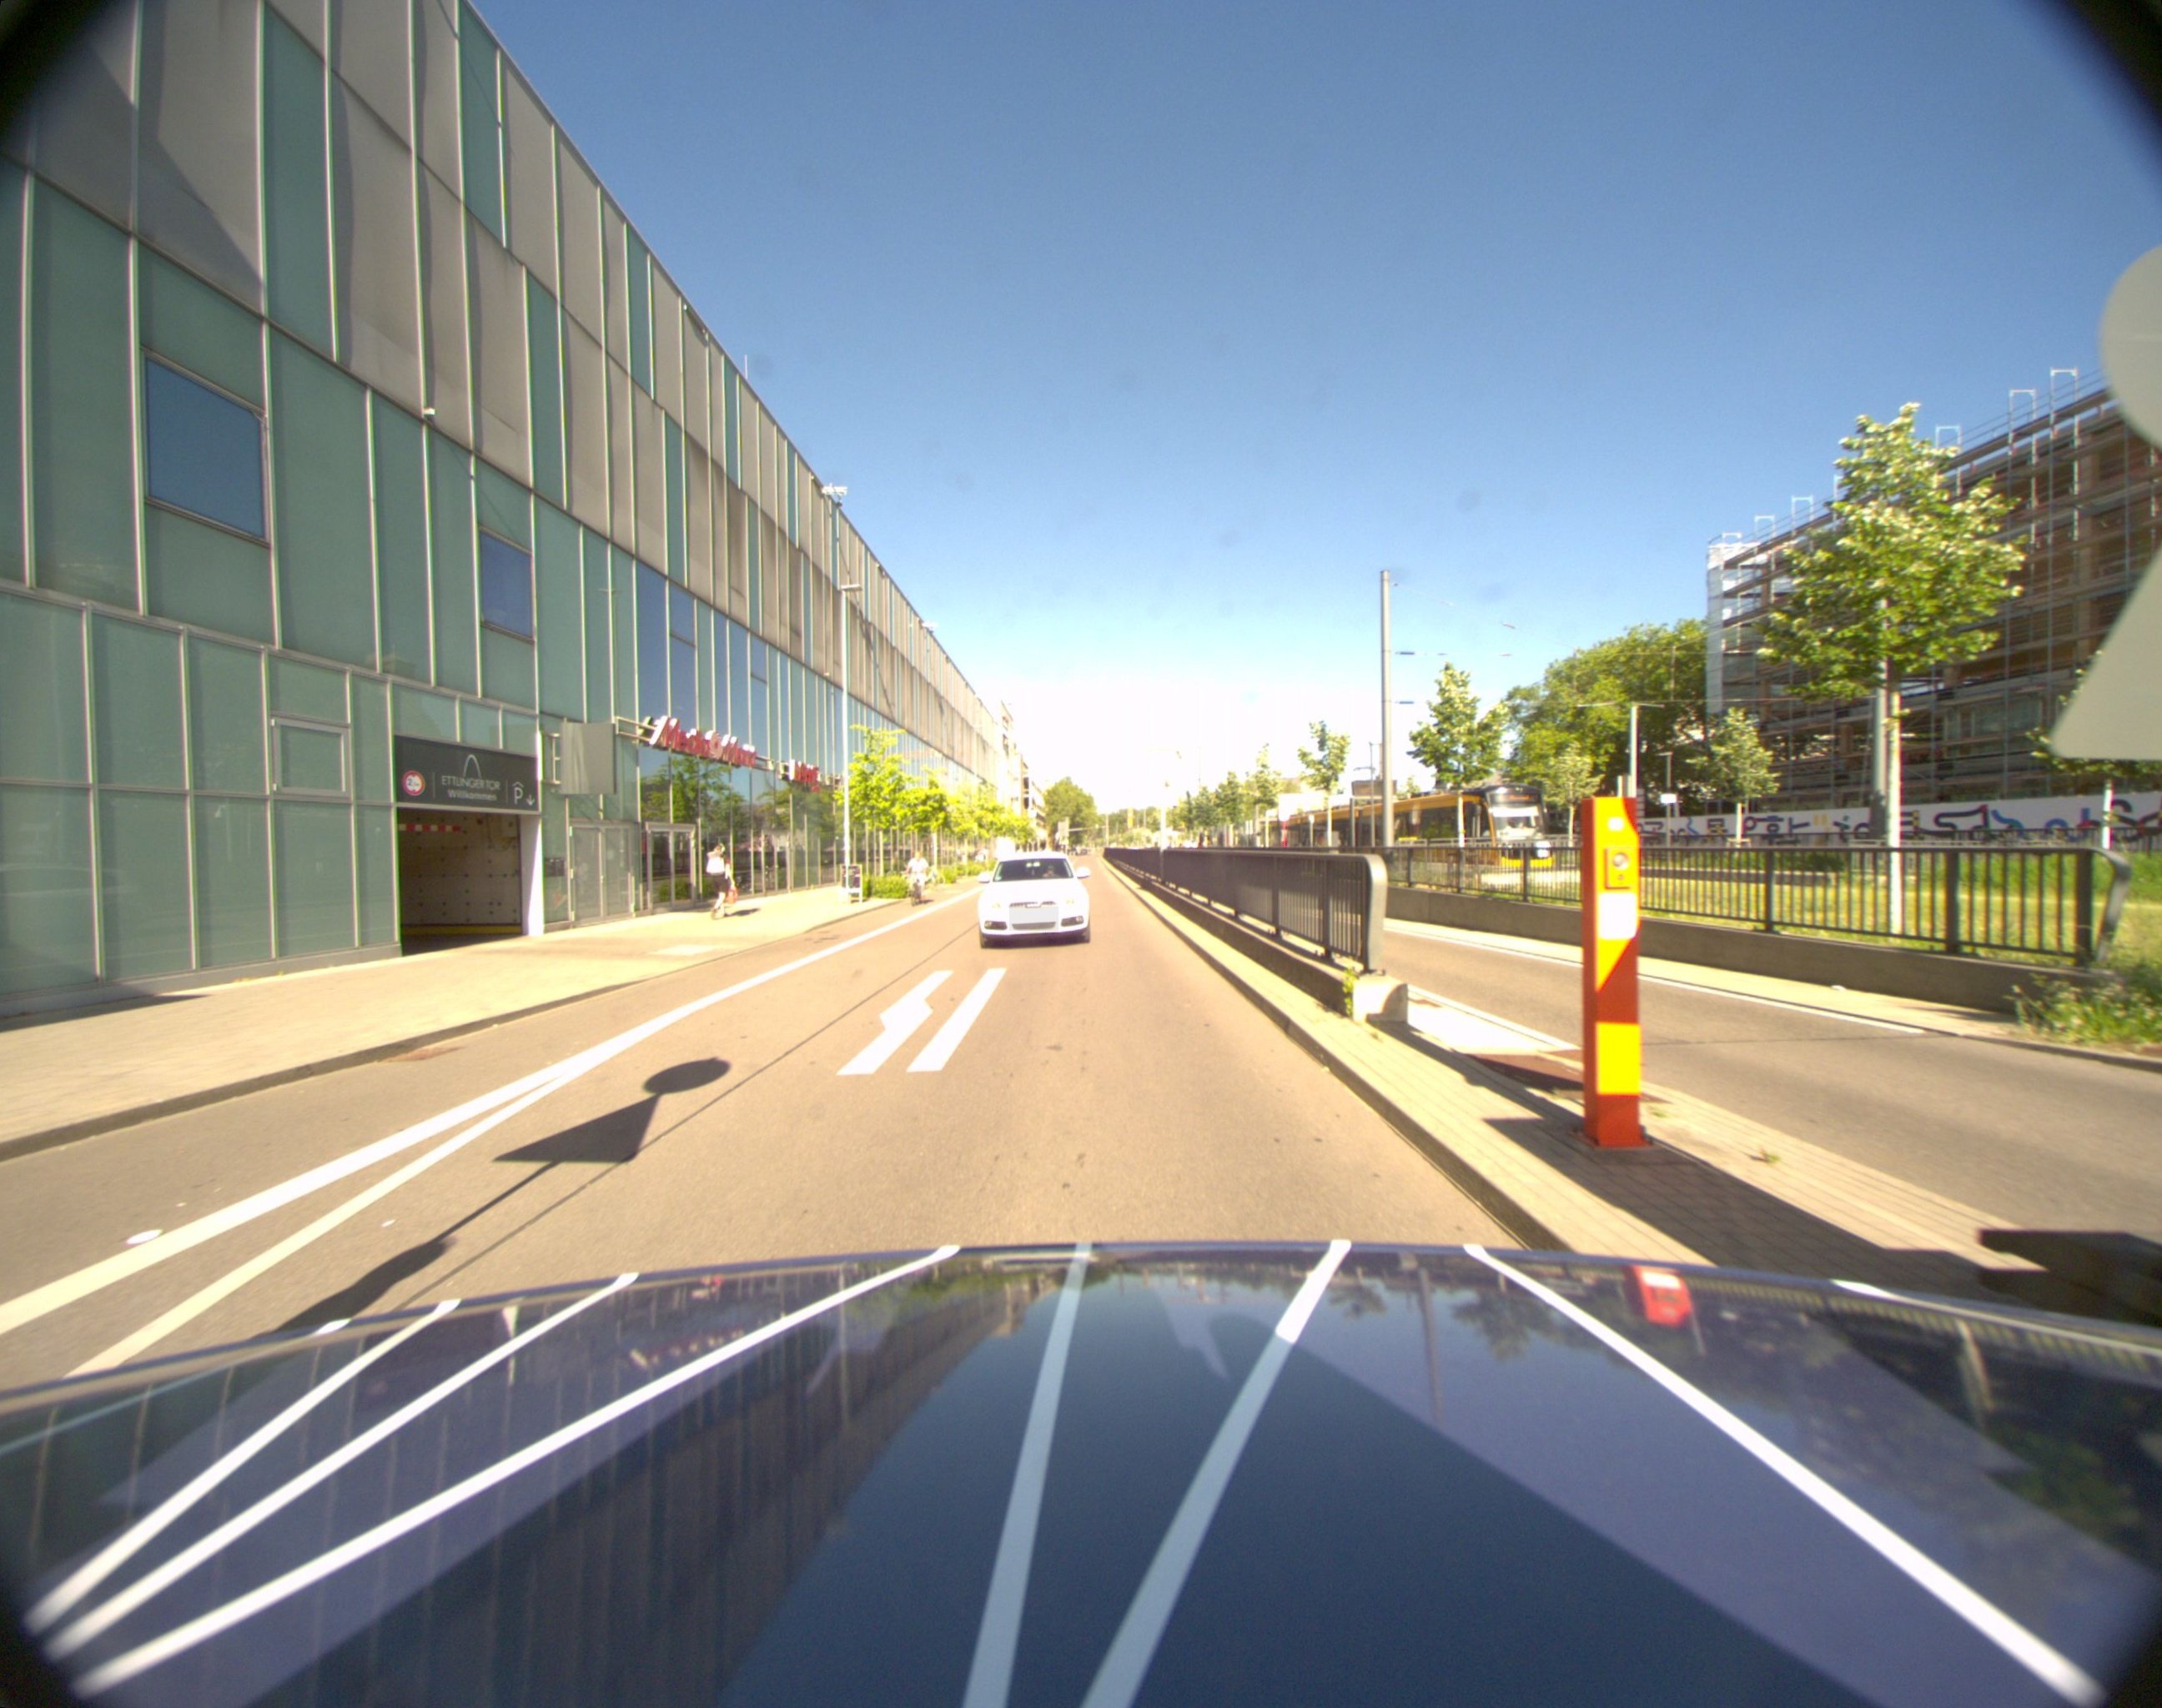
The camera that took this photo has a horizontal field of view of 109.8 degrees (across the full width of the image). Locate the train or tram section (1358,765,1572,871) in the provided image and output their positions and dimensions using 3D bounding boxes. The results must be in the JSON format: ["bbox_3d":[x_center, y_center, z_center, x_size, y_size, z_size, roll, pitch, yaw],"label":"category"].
[{"bbox_3d":[15.606,-1.364,32.645,2.822,3.618,12.786,-1,1,1],"label":"train or tram section"}]

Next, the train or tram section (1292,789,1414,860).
[{"bbox_3d":[15.734,-1.647,45.442,2.822,3.618,12.786,-1,1,1],"label":"train or tram section"}]

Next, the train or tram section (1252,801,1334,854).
[{"bbox_3d":[15.889,-1.935,58.229,2.822,3.618,12.786,-1,1,1],"label":"train or tram section"}]

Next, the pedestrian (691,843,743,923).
[{"bbox_3d":[-9.154,0.714,19.141,0.877,1.914,0.895,2,3,0],"label":"pedestrian"}]

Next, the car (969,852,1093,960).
[{"bbox_3d":[-0.871,0.838,14.325,1.934,1.624,3.998,-2,1,-2],"label":"car"}]

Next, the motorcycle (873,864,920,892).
[{"bbox_3d":[-7.711,0.992,31.742,1.876,1.076,0.645,1,2,24],"label":"motorcycle"}]

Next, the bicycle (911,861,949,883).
[{"bbox_3d":[-7.217,0.861,36.258,1.741,1.056,0.467,1,1,-15],"label":"bicycle"}]

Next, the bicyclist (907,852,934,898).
[{"bbox_3d":[-5.345,0.691,25.263,0.755,1.454,0.587,-2,2,-4],"label":"bicyclist"}]

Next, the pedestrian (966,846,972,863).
[{"bbox_3d":[-11.085,0.020,75.357,0.450,1.681,0.345,-2,1,0],"label":"pedestrian"}]

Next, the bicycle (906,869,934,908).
[{"bbox_3d":[-5.351,1.125,25.305,0.610,1.144,1.986,-2,2,-4],"label":"bicycle"}]
